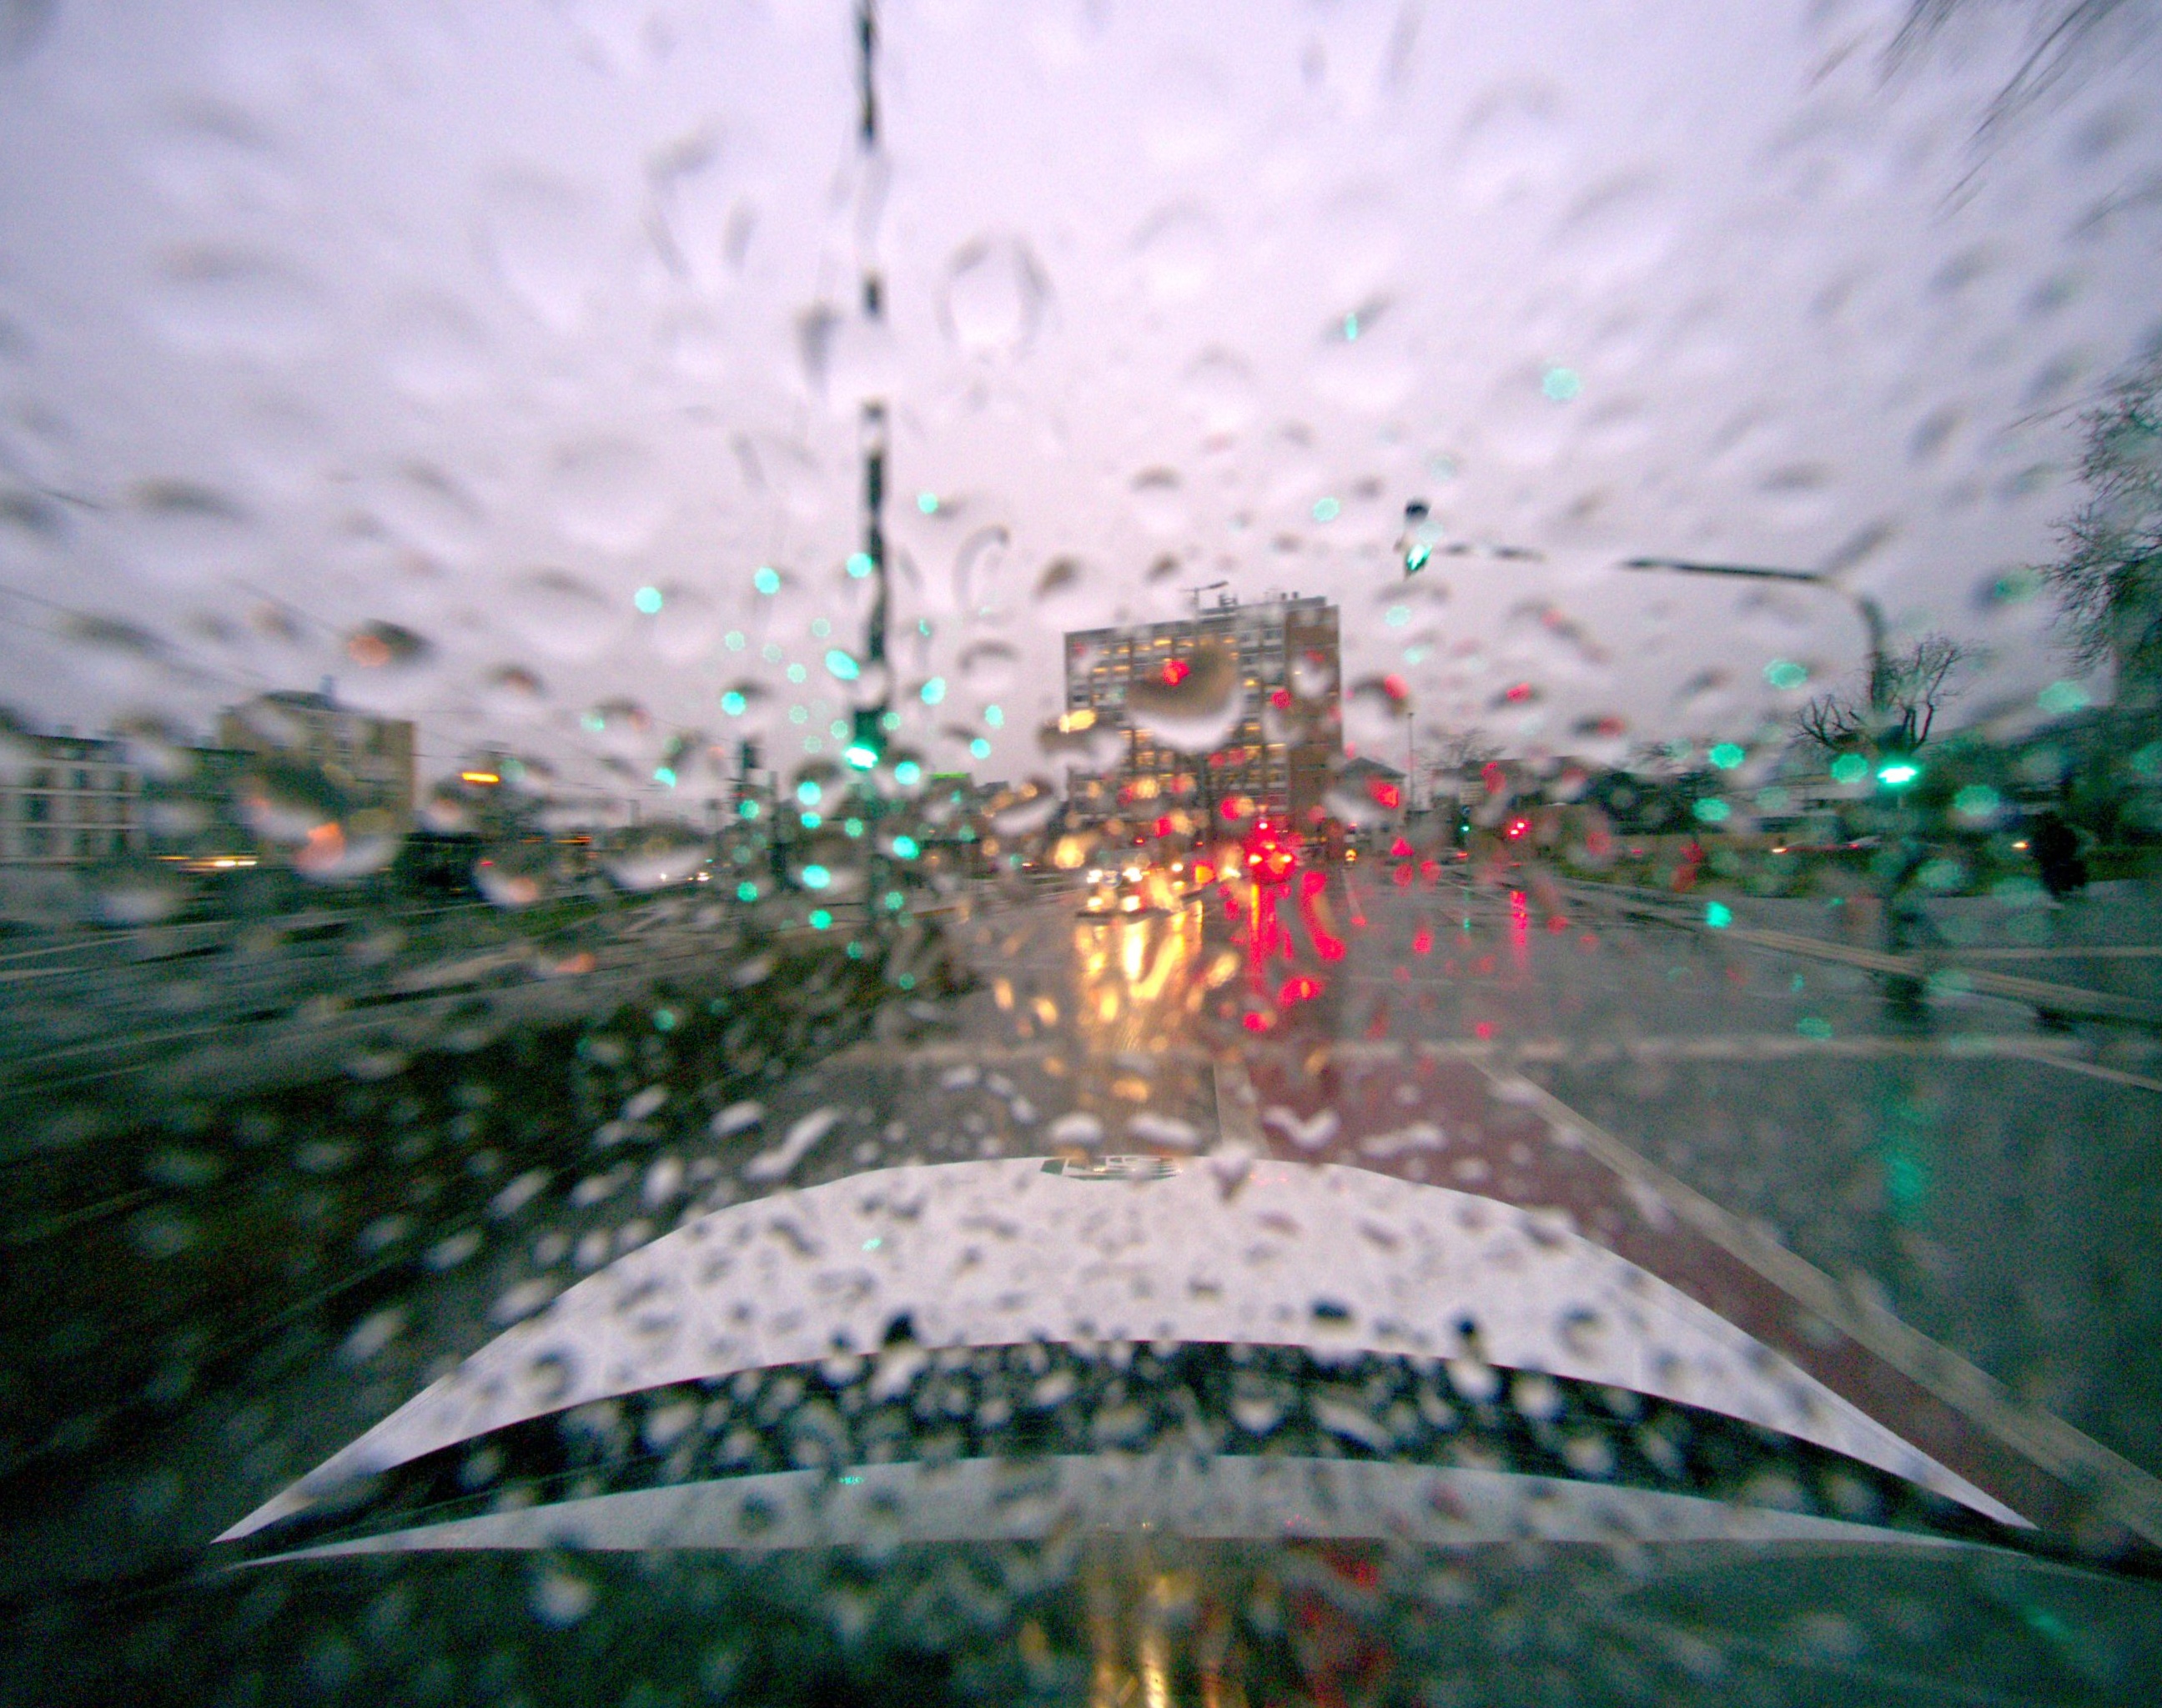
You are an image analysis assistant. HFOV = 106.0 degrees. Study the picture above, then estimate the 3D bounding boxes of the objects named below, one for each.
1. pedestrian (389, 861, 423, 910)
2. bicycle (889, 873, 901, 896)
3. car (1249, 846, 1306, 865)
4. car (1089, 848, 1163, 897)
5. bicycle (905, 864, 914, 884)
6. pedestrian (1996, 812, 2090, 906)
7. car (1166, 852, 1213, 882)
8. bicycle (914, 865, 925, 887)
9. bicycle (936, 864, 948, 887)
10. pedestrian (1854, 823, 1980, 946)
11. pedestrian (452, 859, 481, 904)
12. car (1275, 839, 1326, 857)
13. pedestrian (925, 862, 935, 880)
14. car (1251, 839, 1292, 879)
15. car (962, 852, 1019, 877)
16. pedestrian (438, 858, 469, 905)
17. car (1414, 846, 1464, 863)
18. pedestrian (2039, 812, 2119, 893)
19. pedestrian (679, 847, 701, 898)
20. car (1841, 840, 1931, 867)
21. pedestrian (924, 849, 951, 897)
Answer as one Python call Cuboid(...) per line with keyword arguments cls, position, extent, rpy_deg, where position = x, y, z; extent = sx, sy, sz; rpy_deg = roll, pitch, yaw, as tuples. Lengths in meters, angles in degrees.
Cuboid(cls="pedestrian", position=(-24.415, 1.134, 29.467), extent=(0.714, 1.757, 0.713), rpy_deg=(0, -1, -17))
Cuboid(cls="bicycle", position=(-9.643, 1.555, 42.231), extent=(0.549, 1.165, 1.891), rpy_deg=(1, -1, -12))
Cuboid(cls="car", position=(19.503, 0.159, 80.857), extent=(5.105, 1.913, 2.012), rpy_deg=(0, 0, 33))
Cuboid(cls="car", position=(1.811, 0.660, 31.271), extent=(1.740, 1.662, 4.550), rpy_deg=(-3, 0, 17))
Cuboid(cls="bicycle", position=(-10.267, 1.190, 48.774), extent=(0.549, 1.165, 1.891), rpy_deg=(1, -1, -12))
Cuboid(cls="pedestrian", position=(17.920, 0.095, 15.189), extent=(0.786, 1.675, 0.731), rpy_deg=(-3, -1, 4))
Cuboid(cls="car", position=(5.861, 0.670, 43.454), extent=(1.733, 1.378, 4.386), rpy_deg=(-3, 0, 17))
Cuboid(cls="bicycle", position=(-8.750, 1.164, 44.185), extent=(0.549, 1.165, 1.891), rpy_deg=(1, -1, -12))
Cuboid(cls="bicycle", position=(-7.457, 1.144, 43.700), extent=(0.549, 1.165, 1.891), rpy_deg=(1, -1, -12))
Cuboid(cls="pedestrian", position=(12.098, 0.420, 11.834), extent=(0.798, 1.684, 1.162), rpy_deg=(-3, 0, 21))
Cuboid(cls="pedestrian", position=(-24.642, 1.100, 32.680), extent=(0.714, 1.806, 0.713), rpy_deg=(0, -1, -17))
Cuboid(cls="car", position=(25.766, -0.685, 95.563), extent=(5.497, 2.024, 2.011), rpy_deg=(0, -2, 23))
Cuboid(cls="pedestrian", position=(-14.541, 1.668, 78.301), extent=(0.456, 1.697, 0.801), rpy_deg=(-1, -2, 41))
Cuboid(cls="car", position=(9.239, 0.219, 39.302), extent=(1.634, 1.819, 4.018), rpy_deg=(0, 1, 17))
Cuboid(cls="car", position=(-8.379, 0.963, 75.245), extent=(4.972, 2.281, 2.272), rpy_deg=(0, -2, 34))
Cuboid(cls="pedestrian", position=(-24.361, 1.053, 31.609), extent=(0.714, 1.806, 0.713), rpy_deg=(0, -1, -17))
Cuboid(cls="car", position=(32.213, 0.093, 73.337), extent=(3.878, 1.486, 1.478), rpy_deg=(0, -2, 33))
Cuboid(cls="pedestrian", position=(21.301, -0.033, 17.389), extent=(0.962, 1.675, 0.774), rpy_deg=(-2, -1, -22))
Cuboid(cls="pedestrian", position=(-14.174, 0.679, 29.524), extent=(0.605, 1.813, 0.820), rpy_deg=(1, -2, -19))
Cuboid(cls="car", position=(50.610, -0.029, 51.283), extent=(3.602, 1.651, 1.899), rpy_deg=(0, -2, 21))
Cuboid(cls="pedestrian", position=(-5.153, 0.680, 29.273), extent=(0.667, 1.674, 0.734), rpy_deg=(0, -2, 21))
